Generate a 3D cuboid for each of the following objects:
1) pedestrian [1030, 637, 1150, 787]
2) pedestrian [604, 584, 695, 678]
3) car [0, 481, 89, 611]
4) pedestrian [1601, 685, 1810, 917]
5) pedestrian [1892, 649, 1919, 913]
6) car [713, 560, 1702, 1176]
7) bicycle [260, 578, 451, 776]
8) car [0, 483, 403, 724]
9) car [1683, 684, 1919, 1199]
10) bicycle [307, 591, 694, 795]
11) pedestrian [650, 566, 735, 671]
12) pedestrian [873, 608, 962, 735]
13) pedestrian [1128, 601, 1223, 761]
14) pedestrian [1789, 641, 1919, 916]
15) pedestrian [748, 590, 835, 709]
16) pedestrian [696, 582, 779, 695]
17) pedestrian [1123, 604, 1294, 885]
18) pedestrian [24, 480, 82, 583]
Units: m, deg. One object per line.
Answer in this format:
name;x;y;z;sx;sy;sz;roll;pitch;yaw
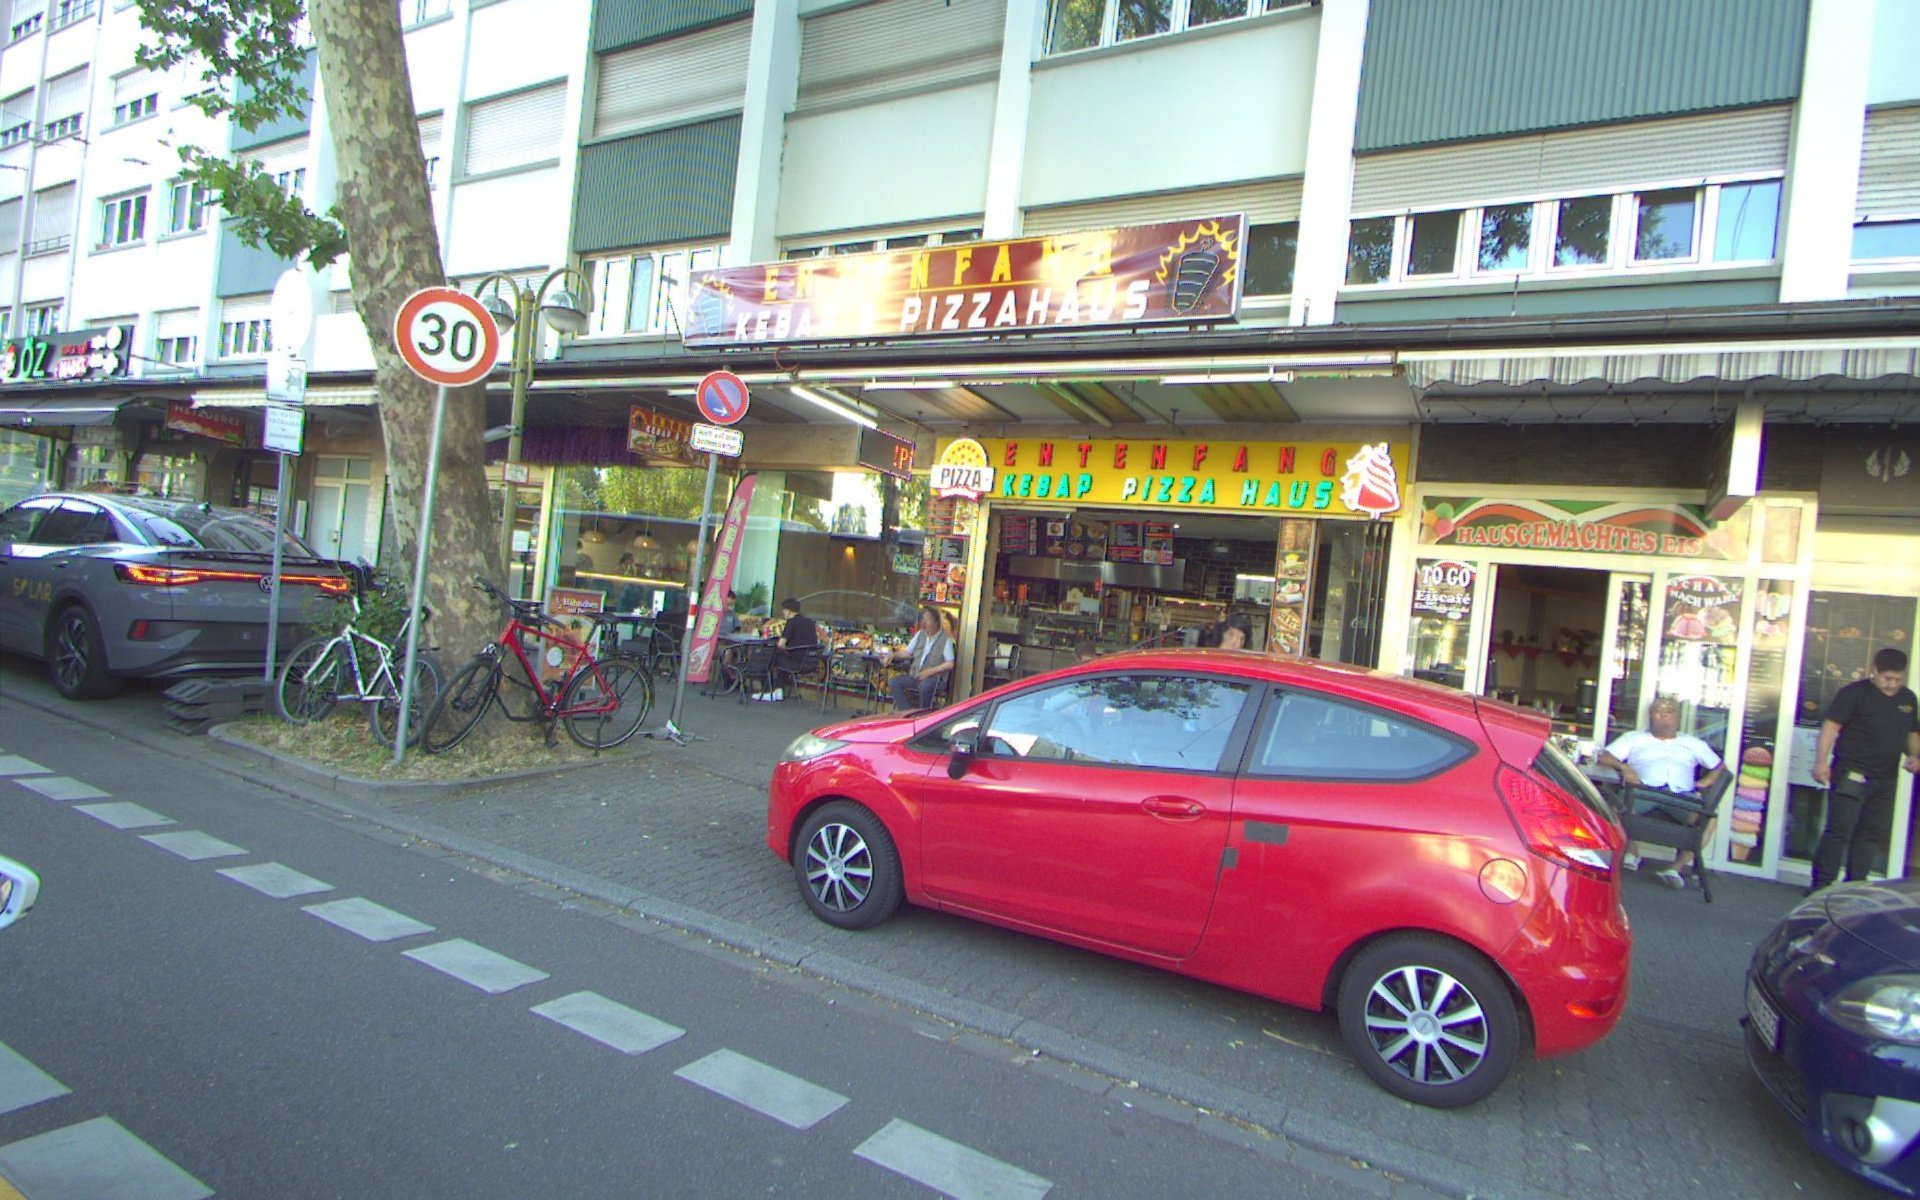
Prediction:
pedestrian;1.205;1.004;9.287;0.798;1.225;0.654;7;2;28
pedestrian;-4.020;0.399;13.081;0.940;1.094;0.639;6;0;-9
car;-14.104;-0.912;13.613;4.292;1.603;1.996;7;2;27
pedestrian;5.179;1.340;7.090;0.937;1.352;1.069;7;0;30
pedestrian;6.846;1.253;6.813;0.391;1.805;0.552;4;2;-29
car;0.927;0.811;4.747;3.757;1.617;1.782;6;3;28
bicycle;-4.274;0.508;7.081;1.421;1.169;0.553;6;0;36
car;-7.371;-0.102;9.073;4.292;1.603;1.996;7;2;27
car;4.333;1.257;2.704;3.549;1.488;1.767;6;3;29
bicycle;-3.052;0.561;6.942;0.547;1.171;2.377;7;4;44
pedestrian;-3.793;0.255;14.360;0.958;1.350;0.830;6;0;-9
pedestrian;-0.444;0.748;10.725;0.550;1.252;0.689;7;2;29
pedestrian;2.269;0.846;10.569;0.589;1.566;0.700;7;0;34
pedestrian;6.290;1.210;7.040;0.547;1.802;0.395;6;2;29
pedestrian;-1.929;0.557;11.545;0.679;1.261;0.558;7;2;33
pedestrian;-2.673;0.456;12.090;0.680;1.261;0.557;7;2;38
pedestrian;1.651;0.919;6.672;0.783;1.667;0.583;7;1;30
pedestrian;-15.756;-1.187;17.486;0.661;1.688;0.593;4;2;-42
